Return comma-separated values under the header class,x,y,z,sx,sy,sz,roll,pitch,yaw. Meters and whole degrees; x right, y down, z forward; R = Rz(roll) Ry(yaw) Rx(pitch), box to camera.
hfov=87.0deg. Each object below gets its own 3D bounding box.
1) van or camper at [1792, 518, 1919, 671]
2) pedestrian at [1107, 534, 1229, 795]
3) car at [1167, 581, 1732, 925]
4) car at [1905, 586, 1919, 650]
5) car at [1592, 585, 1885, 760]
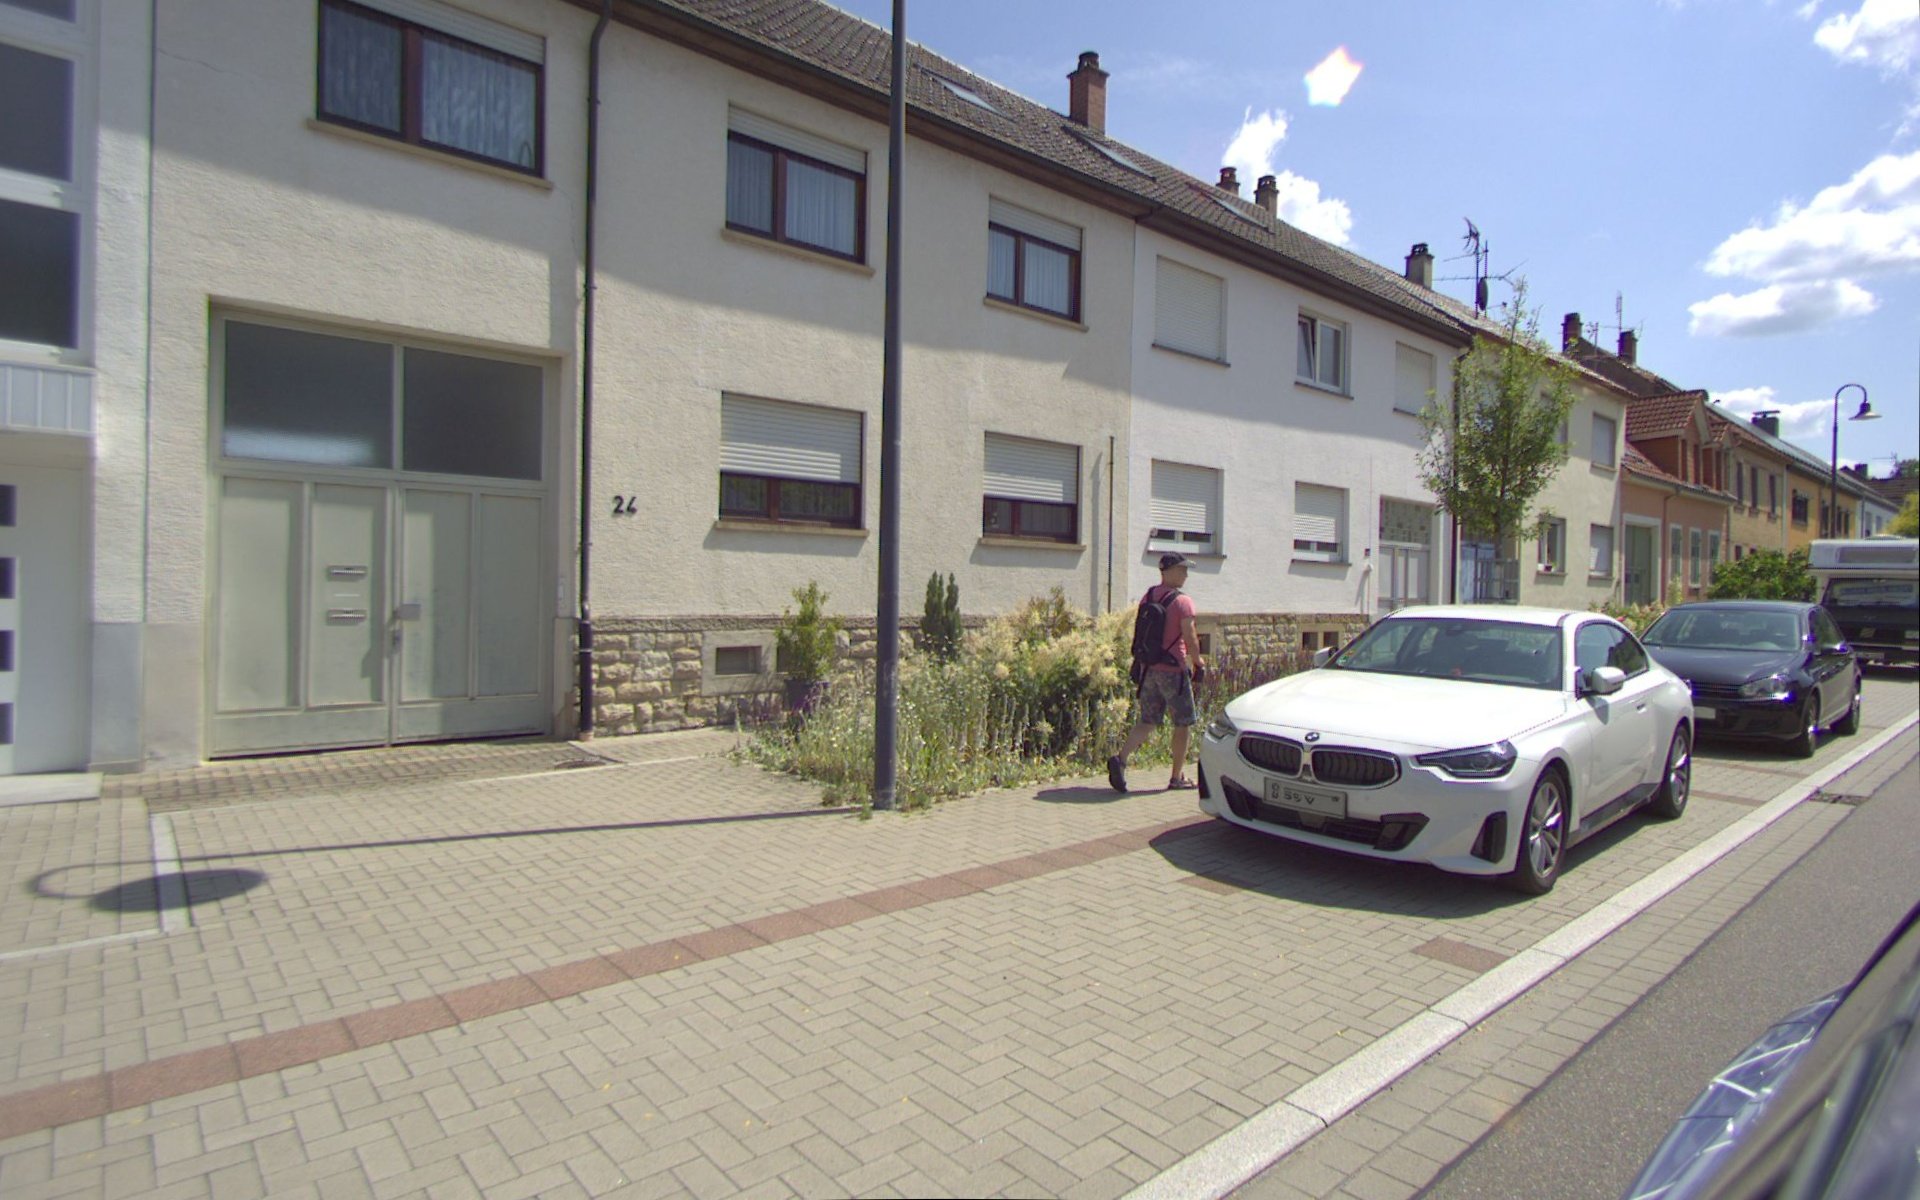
class,x,y,z,sx,sy,sz,roll,pitch,yaw
van or camper,19.580,-0.117,21.121,5.689,2.845,2.478,0,2,-41
pedestrian,1.495,0.426,7.287,0.661,1.770,0.558,-1,1,-40
car,3.409,0.635,6.566,4.443,1.484,1.834,0,1,-43
car,27.534,0.478,27.861,4.249,1.726,1.770,0,1,-41
car,8.512,0.622,10.951,3.937,1.549,1.770,0,1,-41
